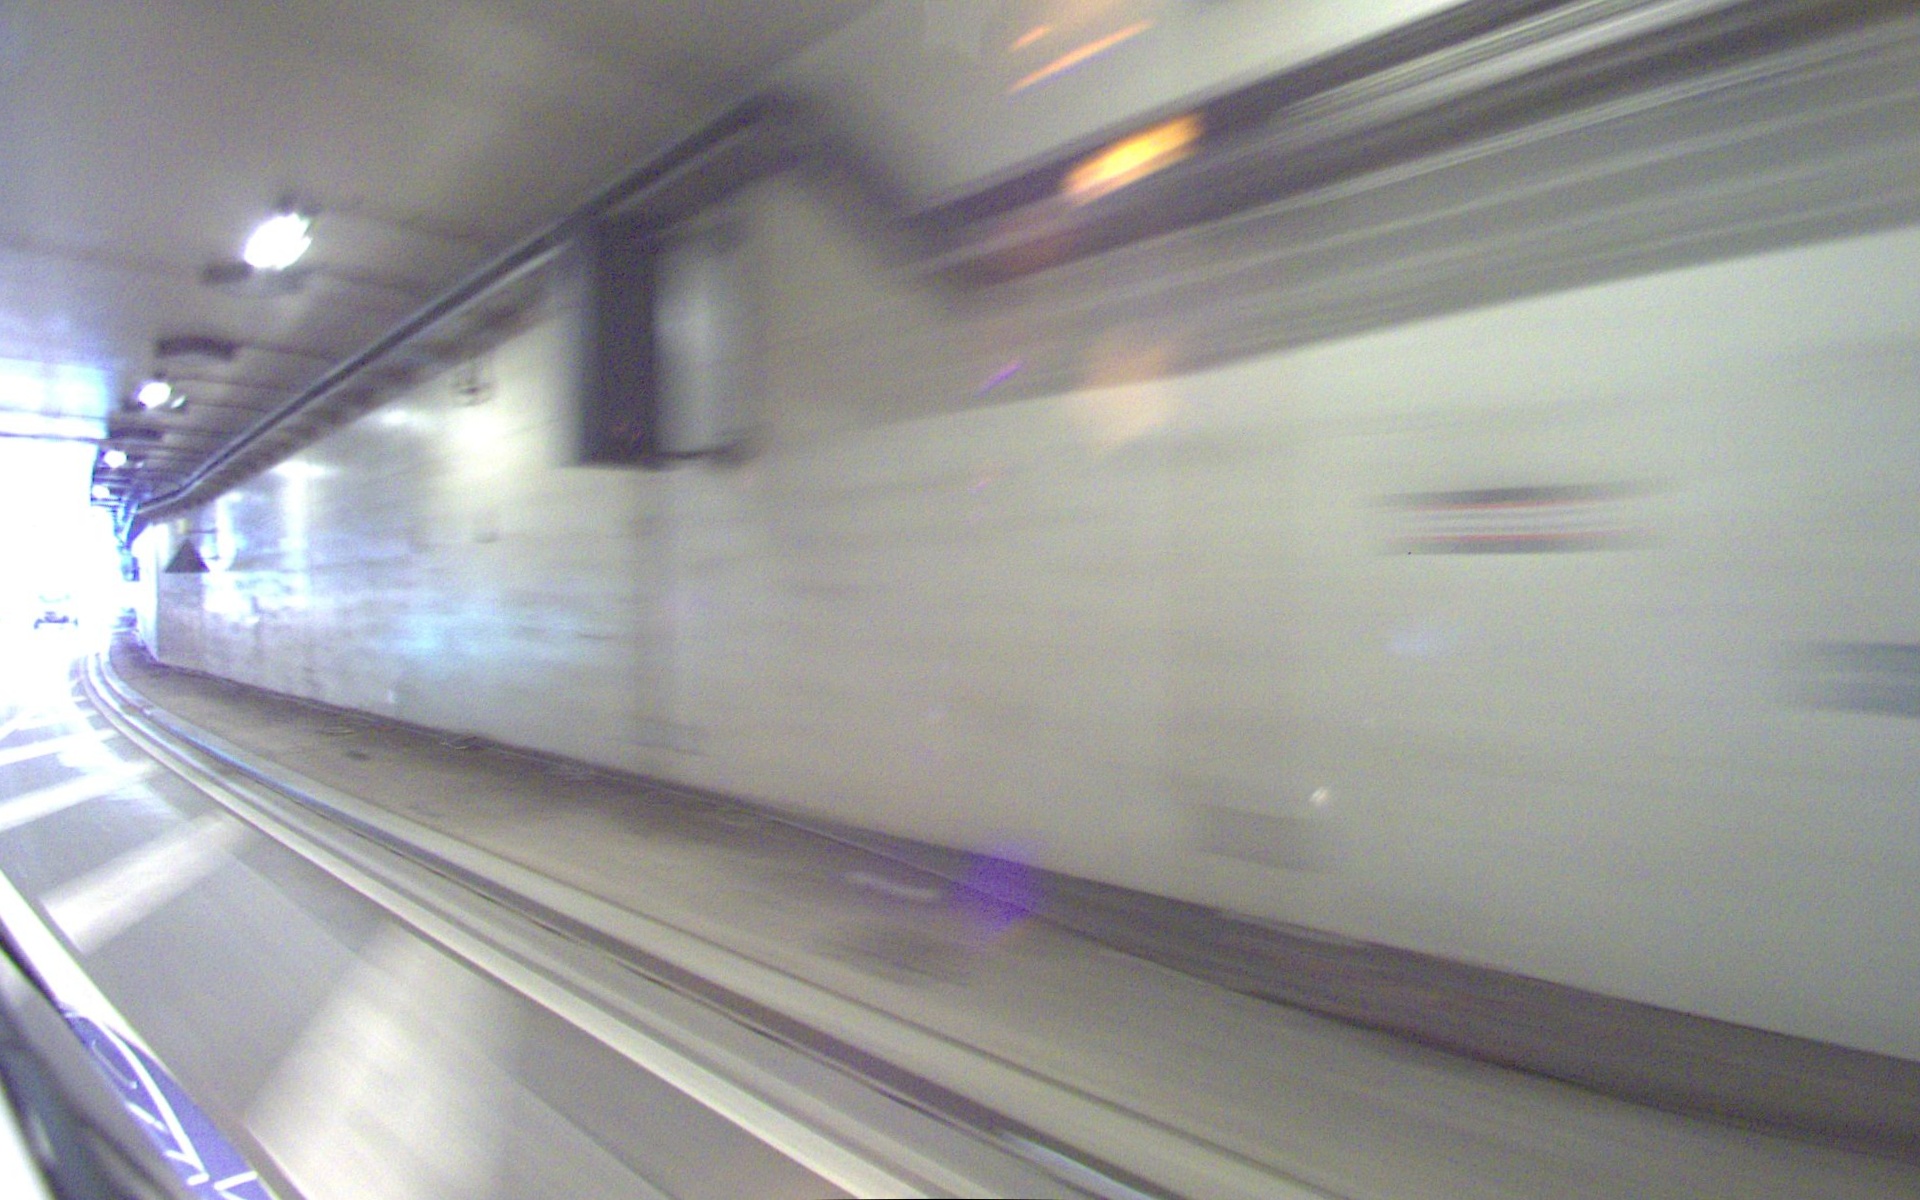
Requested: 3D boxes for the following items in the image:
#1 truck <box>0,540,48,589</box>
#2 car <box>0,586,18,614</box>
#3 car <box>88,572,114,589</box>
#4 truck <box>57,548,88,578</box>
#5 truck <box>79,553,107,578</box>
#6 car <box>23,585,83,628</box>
[{"bbox_3d":[-95.005,-3.709,102.424,2.842,4.504,10.480,-3,5,-37],"label":"truck"},{"bbox_3d":[-67.585,-0.001,71.137,1.614,1.683,3.724,-4,6,-38],"label":"car"},{"bbox_3d":[-90.705,-2.085,106.900,1.921,1.544,4.009,-4,7,-39],"label":"car"},{"bbox_3d":[-110.812,-4.657,126.411,2.456,3.412,6.391,-3,6,-38],"label":"truck"},{"bbox_3d":[-102.308,-4.144,119.499,2.106,2.748,5.684,-4,6,-38],"label":"truck"},{"bbox_3d":[-46.218,0.278,51.635,1.906,1.943,4.205,-4,4,-38],"label":"car"}]
